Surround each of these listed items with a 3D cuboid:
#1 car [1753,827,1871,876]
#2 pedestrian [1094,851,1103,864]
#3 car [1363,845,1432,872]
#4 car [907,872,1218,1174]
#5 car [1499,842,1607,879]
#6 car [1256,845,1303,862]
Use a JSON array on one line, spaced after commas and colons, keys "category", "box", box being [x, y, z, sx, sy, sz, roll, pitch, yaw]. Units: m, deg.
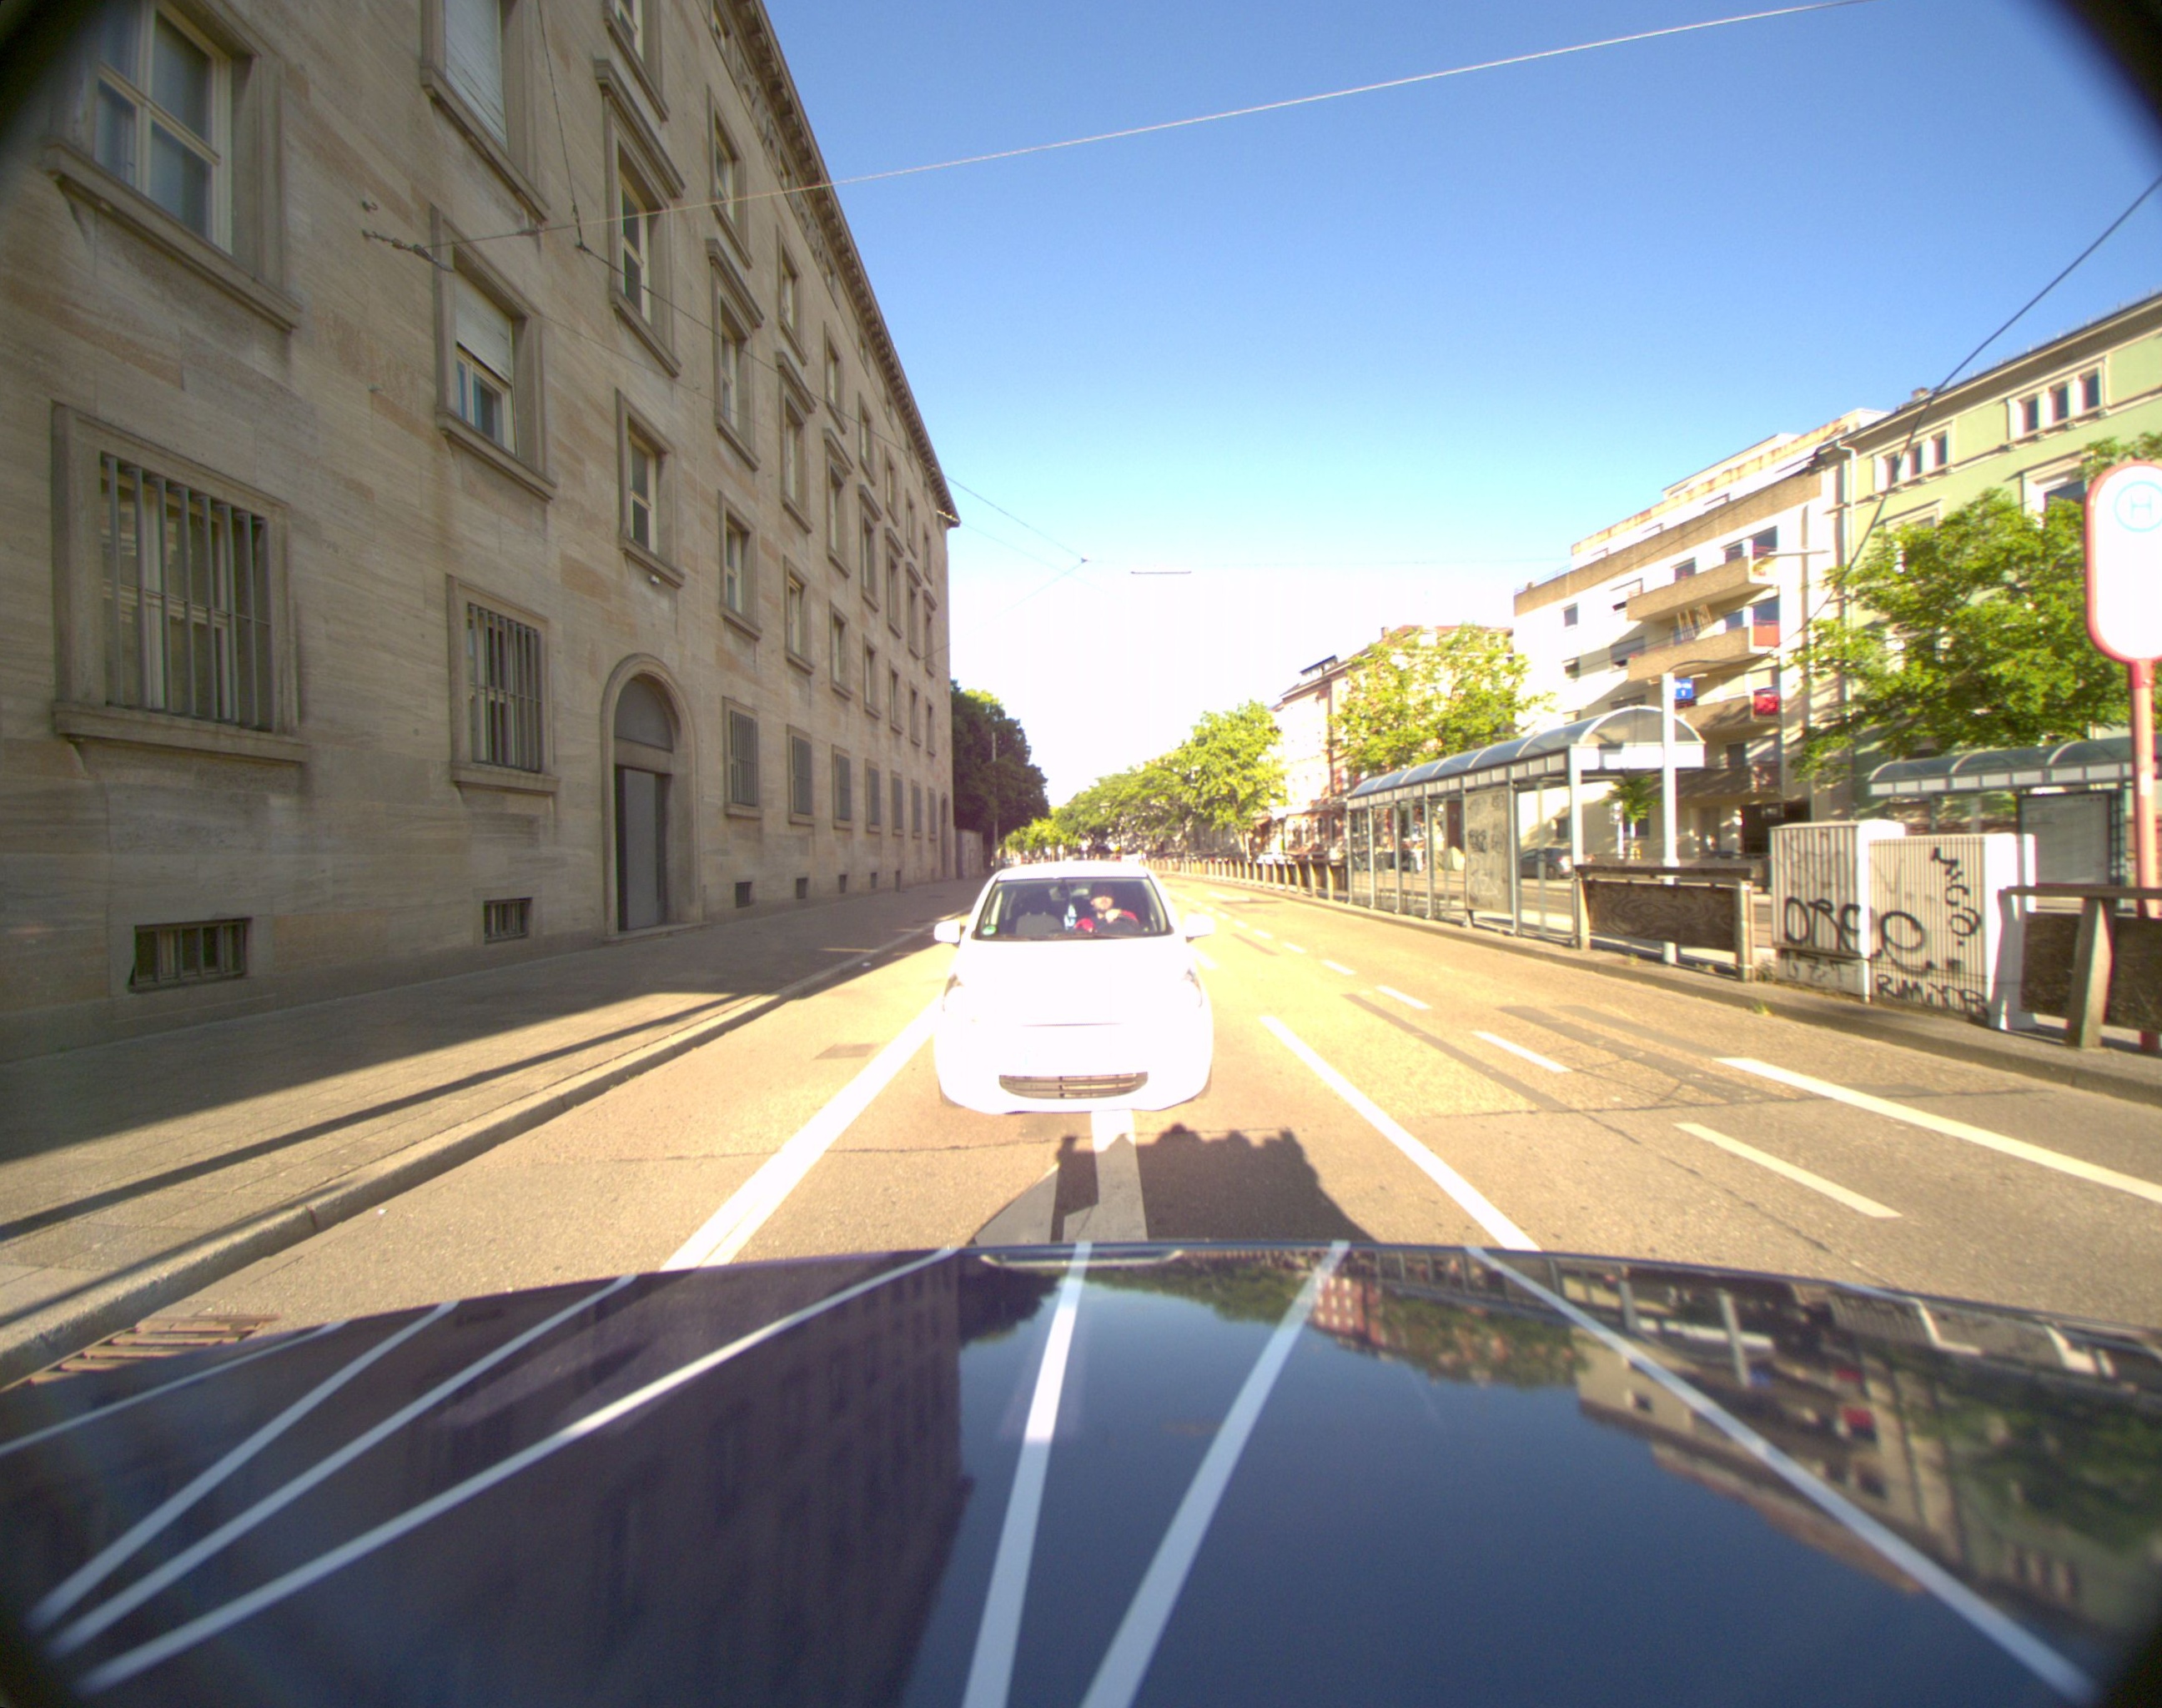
[{"category": "car", "box": [31.558, -0.121, 32.827, 4.001, 2.002, 1.798, -1, 1, -13]}, {"category": "pedestrian", "box": [2.275, 0.413, 99.342, 0.930, 1.673, 0.685, -1, 1, -38]}, {"category": "car", "box": [18.554, 0.254, 44.759, 2.000, 1.521, 3.997, -1, 0, -8]}, {"category": "car", "box": [-0.072, 0.938, 5.817, 1.606, 1.455, 3.621, -1, 0, 1]}, {"category": "car", "box": [21.089, 0.275, 34.164, 2.000, 1.521, 3.997, -1, 0, -8]}, {"category": "car", "box": [16.513, -0.043, 63.225, 3.648, 1.342, 1.578, -2, 1, -29]}]
